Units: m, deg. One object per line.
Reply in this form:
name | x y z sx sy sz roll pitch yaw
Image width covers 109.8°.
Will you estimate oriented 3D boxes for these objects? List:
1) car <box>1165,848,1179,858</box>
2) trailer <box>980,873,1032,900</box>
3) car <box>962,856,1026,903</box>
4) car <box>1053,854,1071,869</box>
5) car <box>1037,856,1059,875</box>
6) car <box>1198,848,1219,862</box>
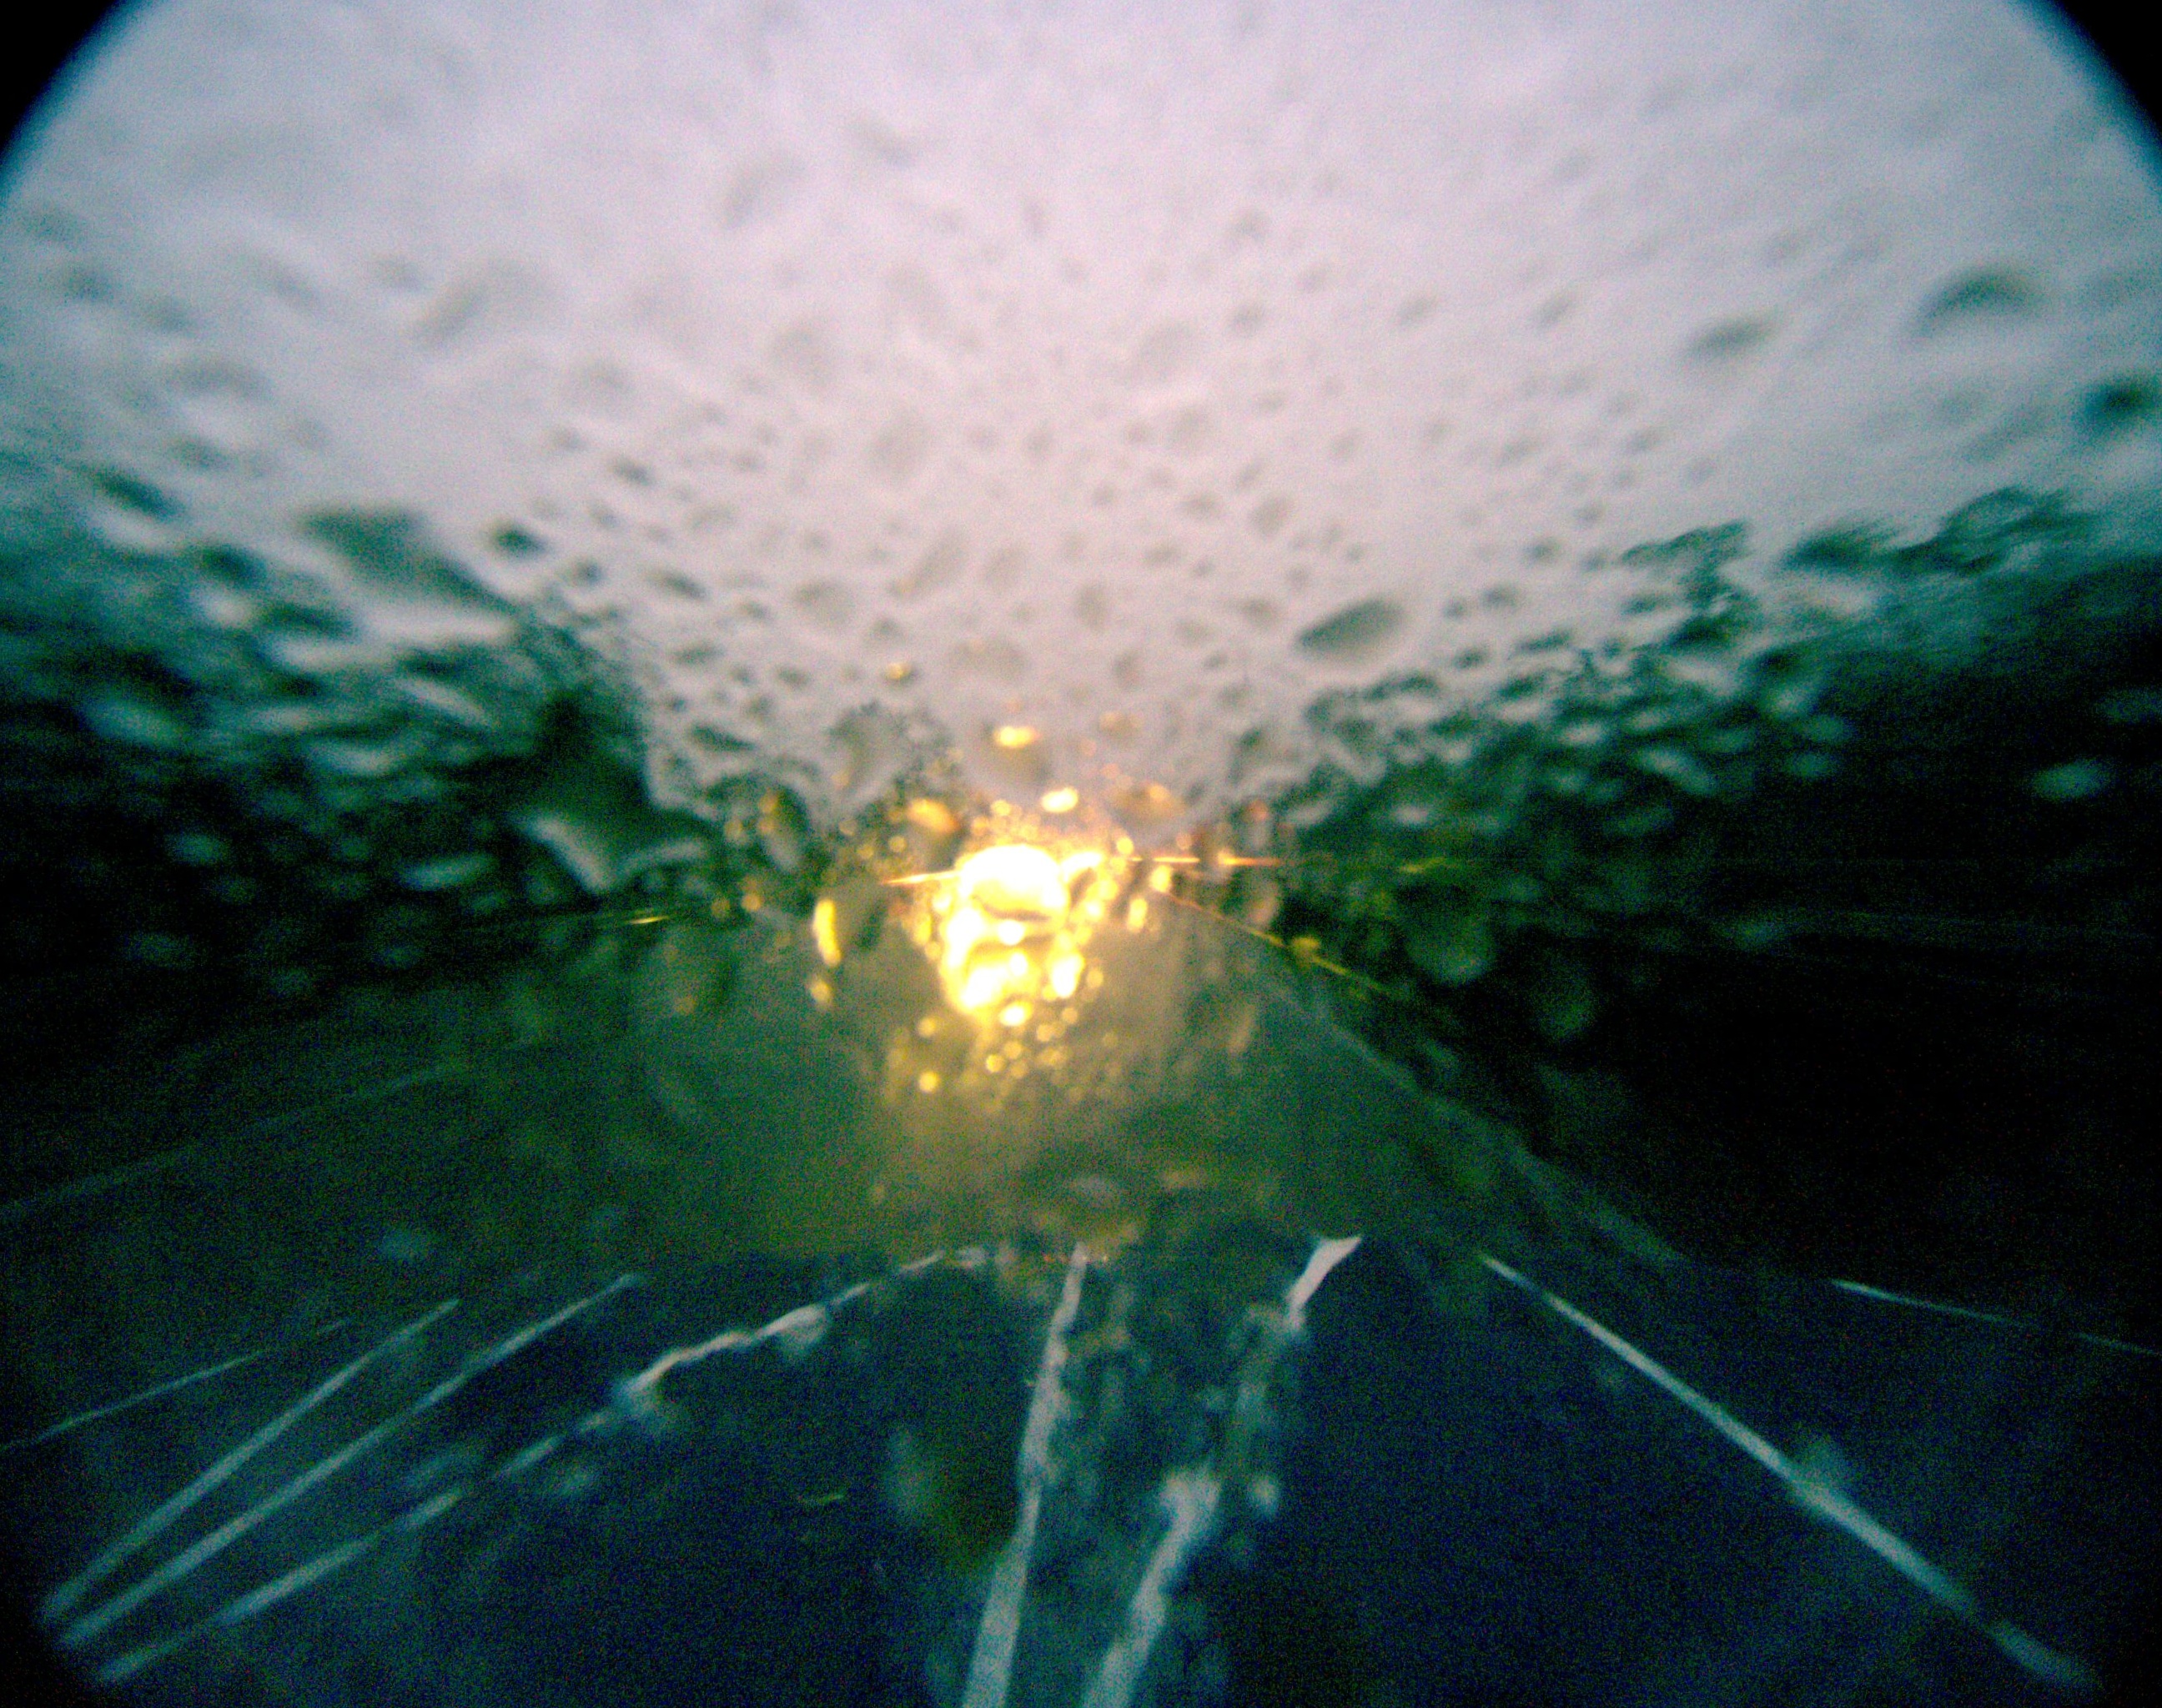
car | 13.919 -0.173 116.653 1.731 1.452 4.417 -2 0 1
trailer | -2.989 1.277 30.650 1.752 0.919 2.951 -2 0 1
car | -3.037 0.846 27.268 1.791 1.508 3.811 -2 0 1
car | -2.101 0.833 84.796 1.682 1.500 3.809 -3 0 1
car | -2.809 0.976 64.708 1.598 1.482 3.594 -3 0 1
car | 12.881 0.070 77.040 1.502 1.388 4.053 -1 0 1
